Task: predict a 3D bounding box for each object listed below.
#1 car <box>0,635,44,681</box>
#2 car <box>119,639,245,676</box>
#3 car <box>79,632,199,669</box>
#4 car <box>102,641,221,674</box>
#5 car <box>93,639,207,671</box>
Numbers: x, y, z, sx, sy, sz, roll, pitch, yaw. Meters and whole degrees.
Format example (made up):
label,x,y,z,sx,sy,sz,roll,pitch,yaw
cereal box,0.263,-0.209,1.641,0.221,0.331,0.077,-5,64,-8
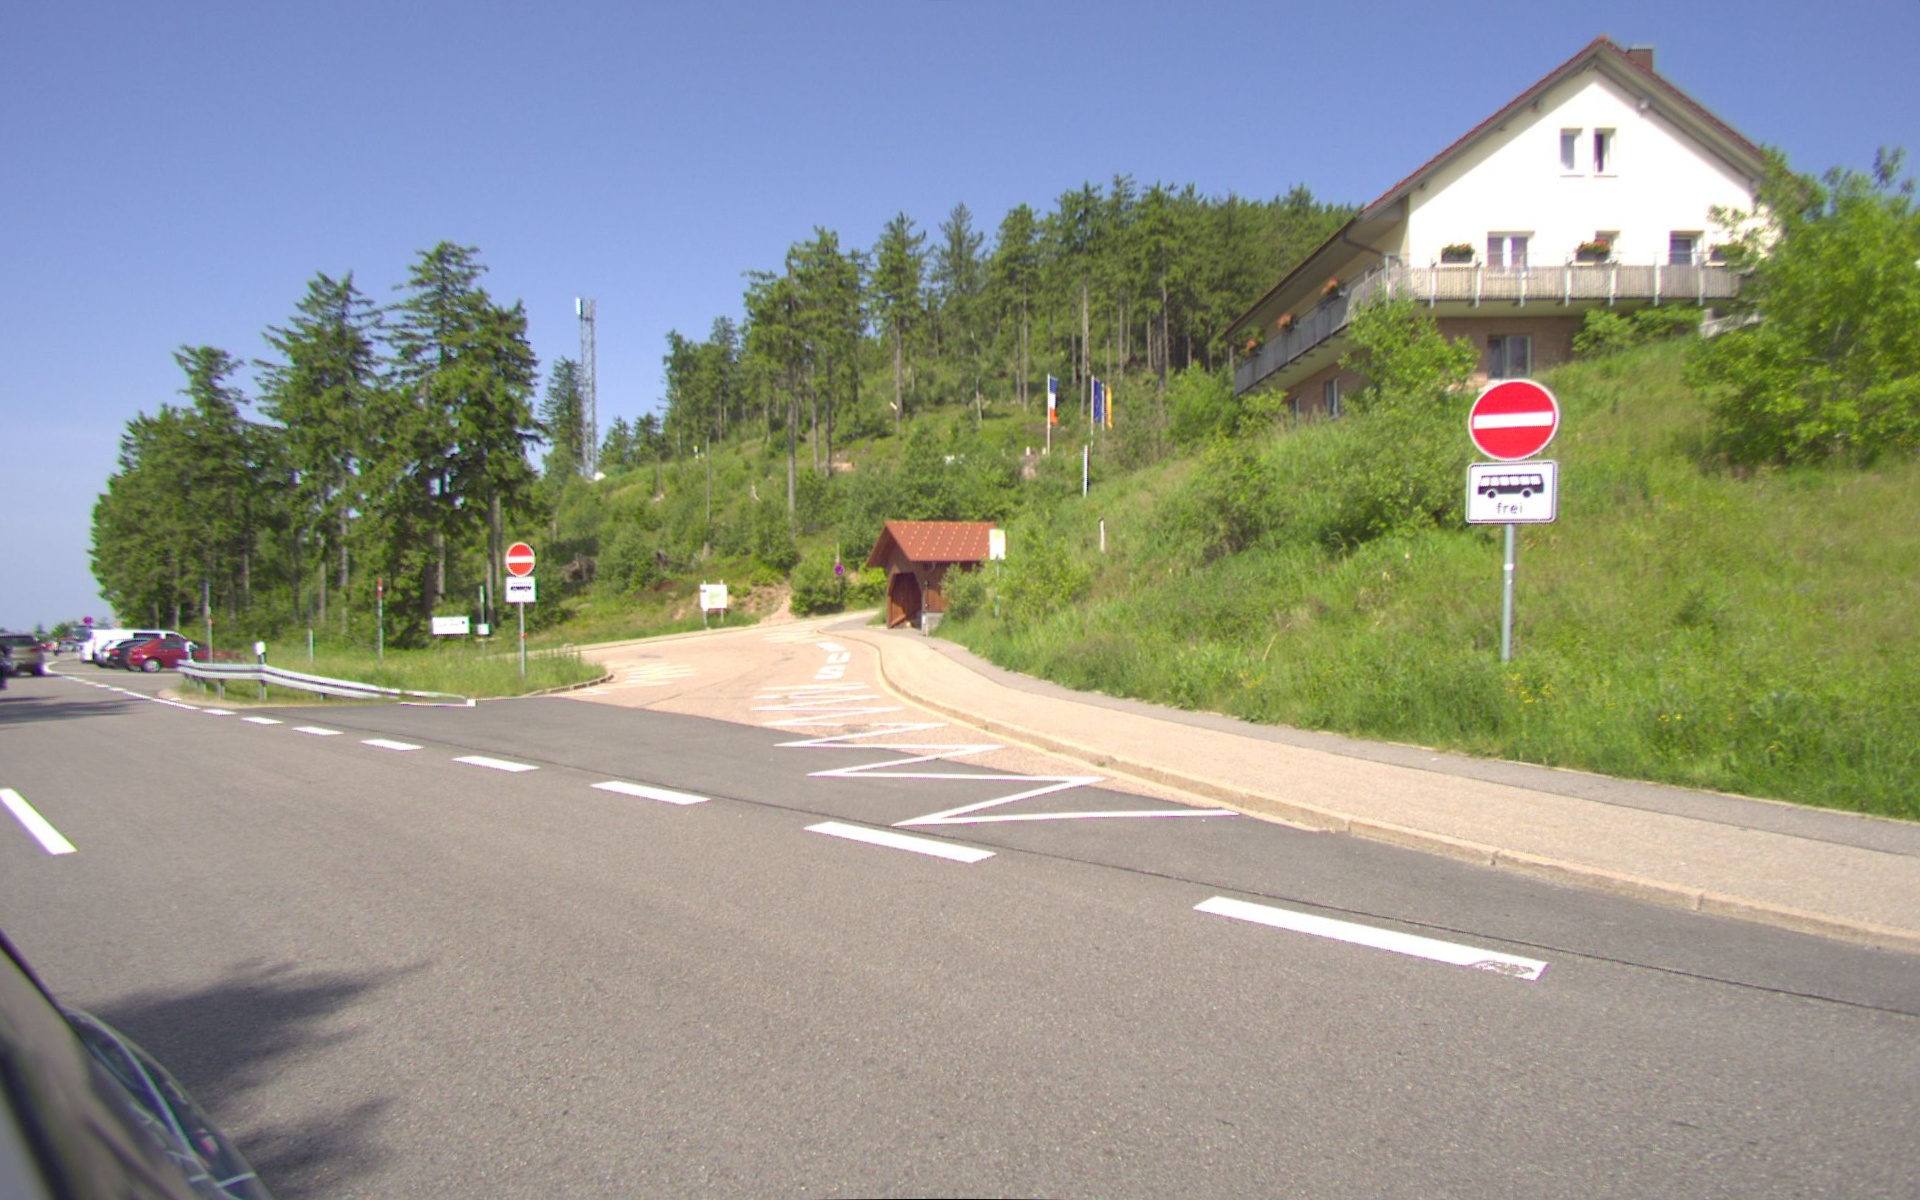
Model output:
label,x,y,z,sx,sy,sz,roll,pitch,yaw
car,-35.180,2.097,37.280,1.970,1.608,4.002,1,-2,-45
car,-33.677,2.458,43.870,1.933,1.522,4.102,-2,-3,45
car,-43.569,2.648,53.781,1.931,1.896,4.668,-2,-3,40
car,-35.819,2.554,45.442,1.931,1.384,3.878,-1,-3,40
car,-40.884,2.770,51.135,1.931,1.537,4.188,-2,-3,40
